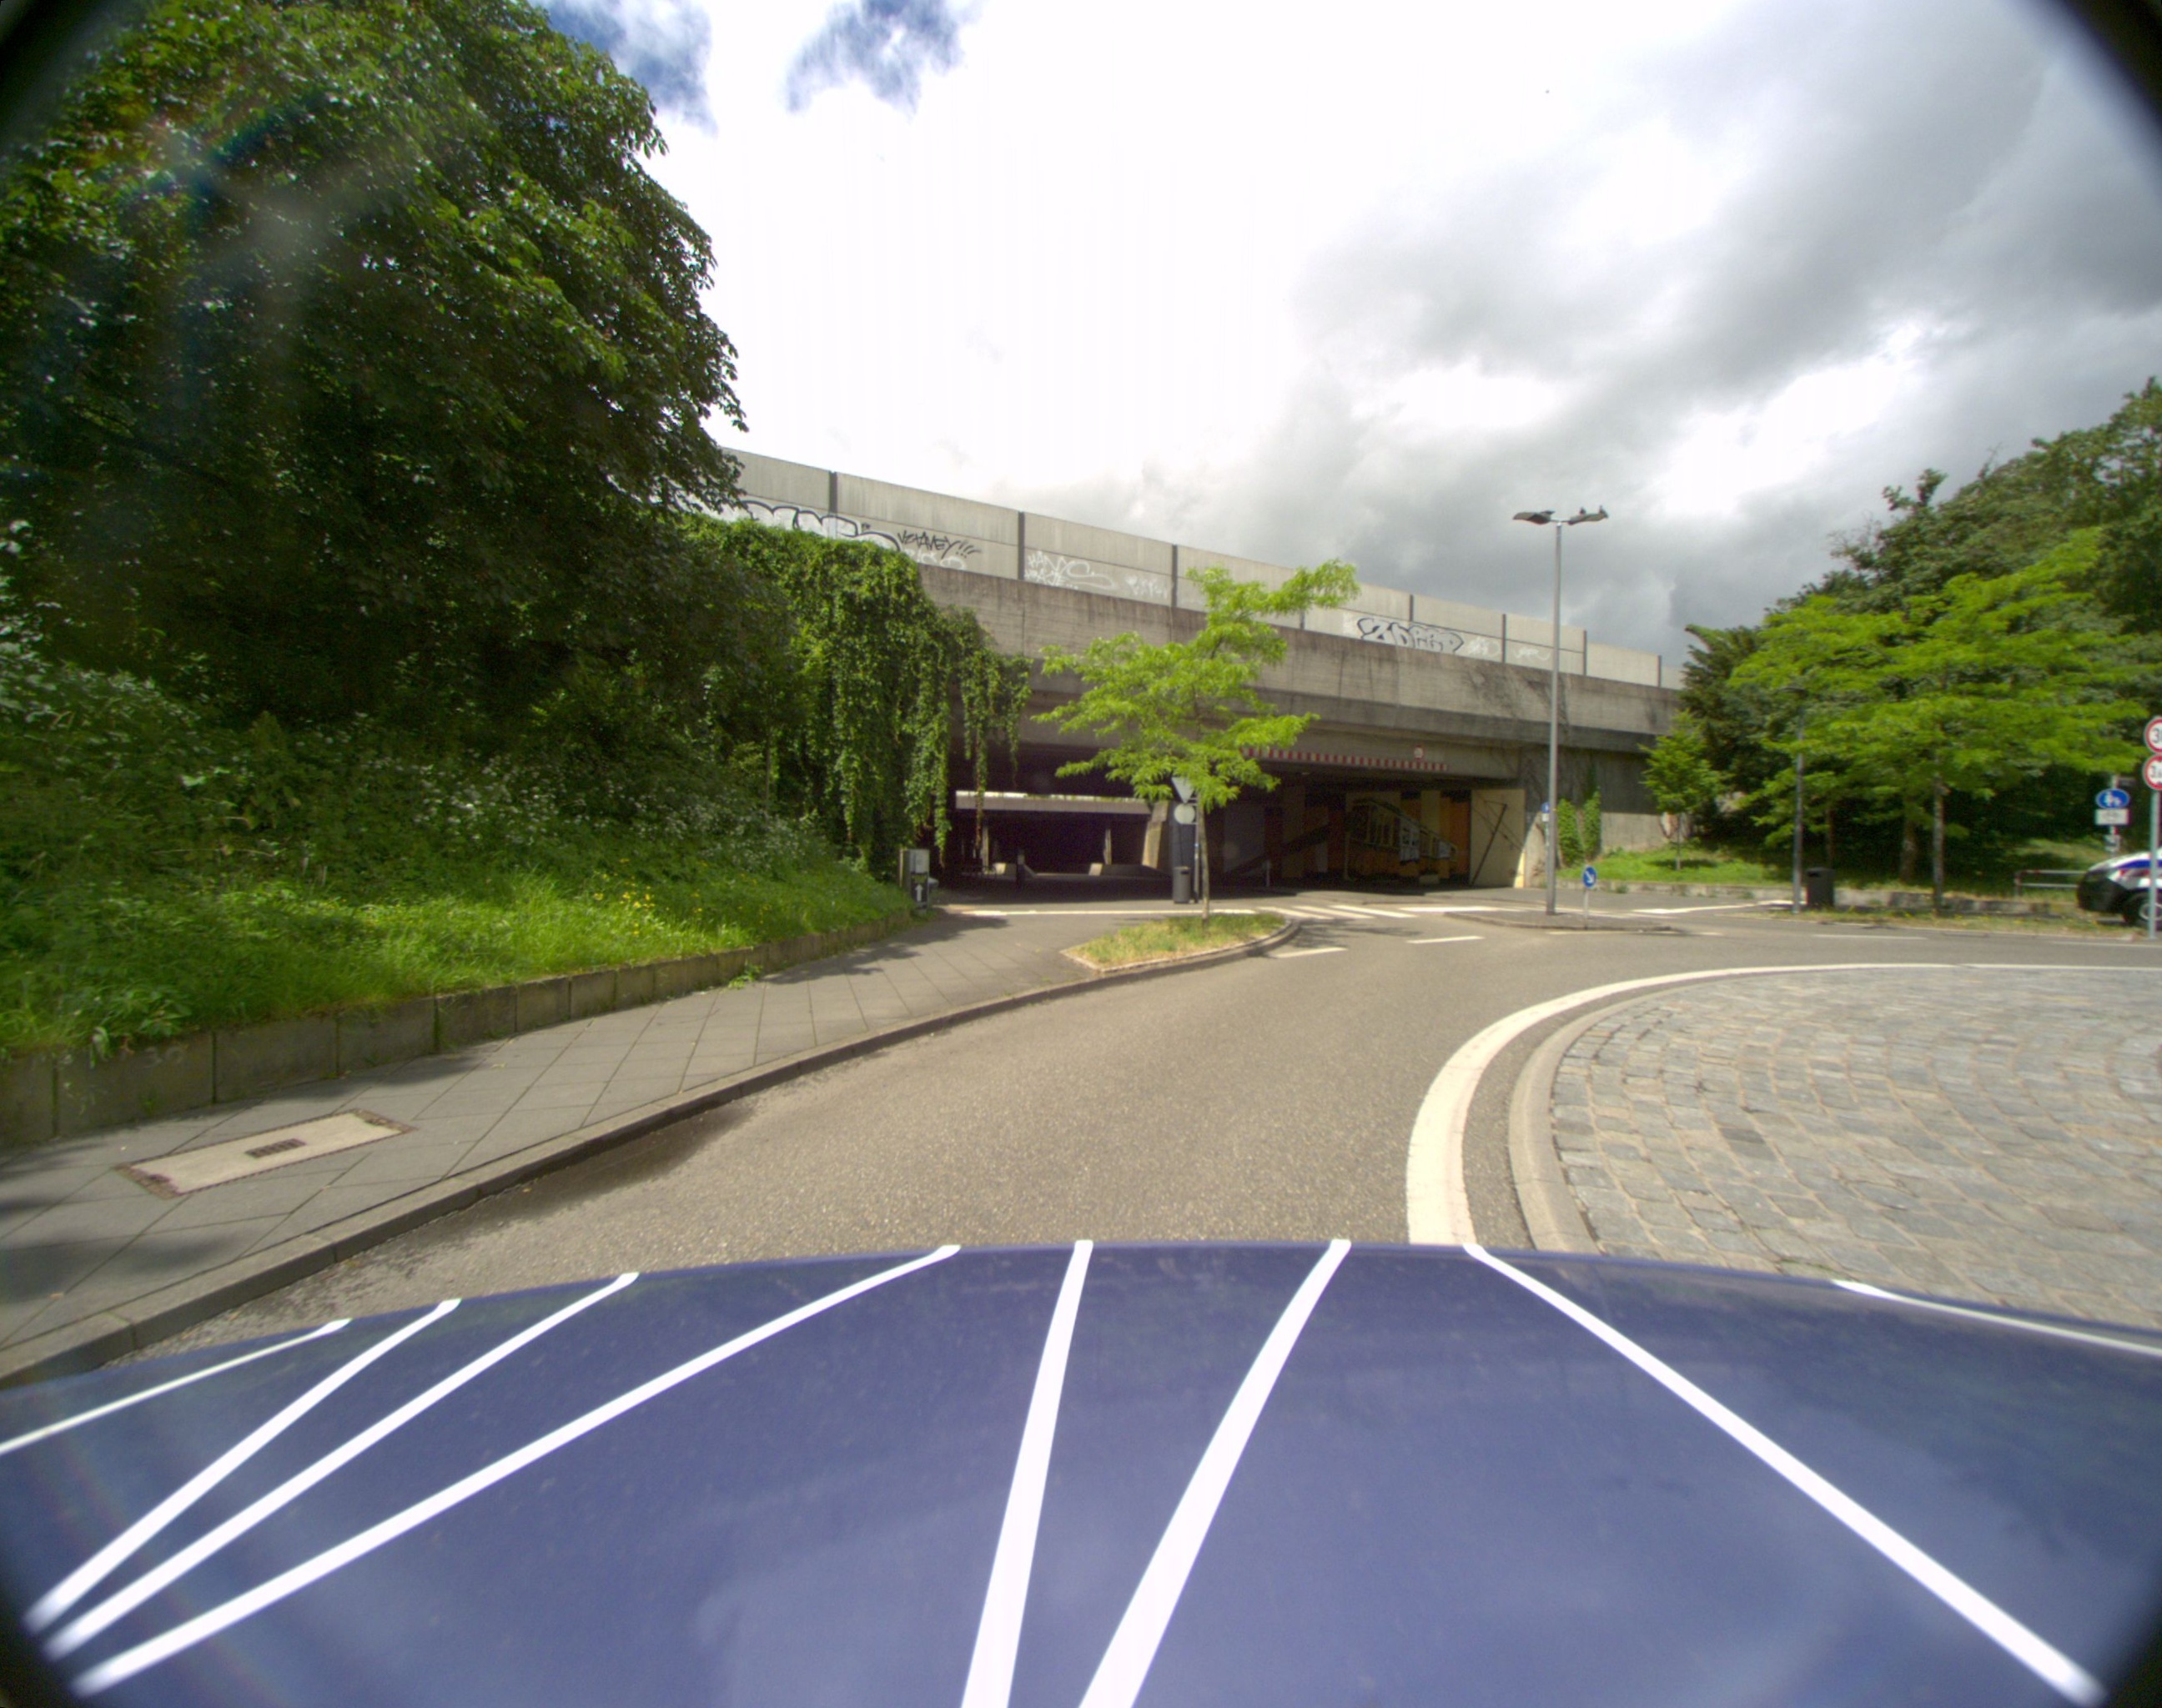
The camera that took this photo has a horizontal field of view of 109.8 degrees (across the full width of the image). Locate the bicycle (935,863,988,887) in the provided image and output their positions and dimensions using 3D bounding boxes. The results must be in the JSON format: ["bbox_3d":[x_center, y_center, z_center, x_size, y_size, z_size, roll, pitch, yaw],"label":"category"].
[{"bbox_3d":[-4.658,0.820,29.585,1.954,0.899,0.505,1,1,-23],"label":"bicycle"}]

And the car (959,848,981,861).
[{"bbox_3d":[-12.954,0.021,88.721,1.679,1.439,3.845,1,0,-22],"label":"car"}]

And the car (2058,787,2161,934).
[{"bbox_3d":[20.744,0.106,12.174,1.976,2.592,5.918,-2,1,-23],"label":"car"}]
